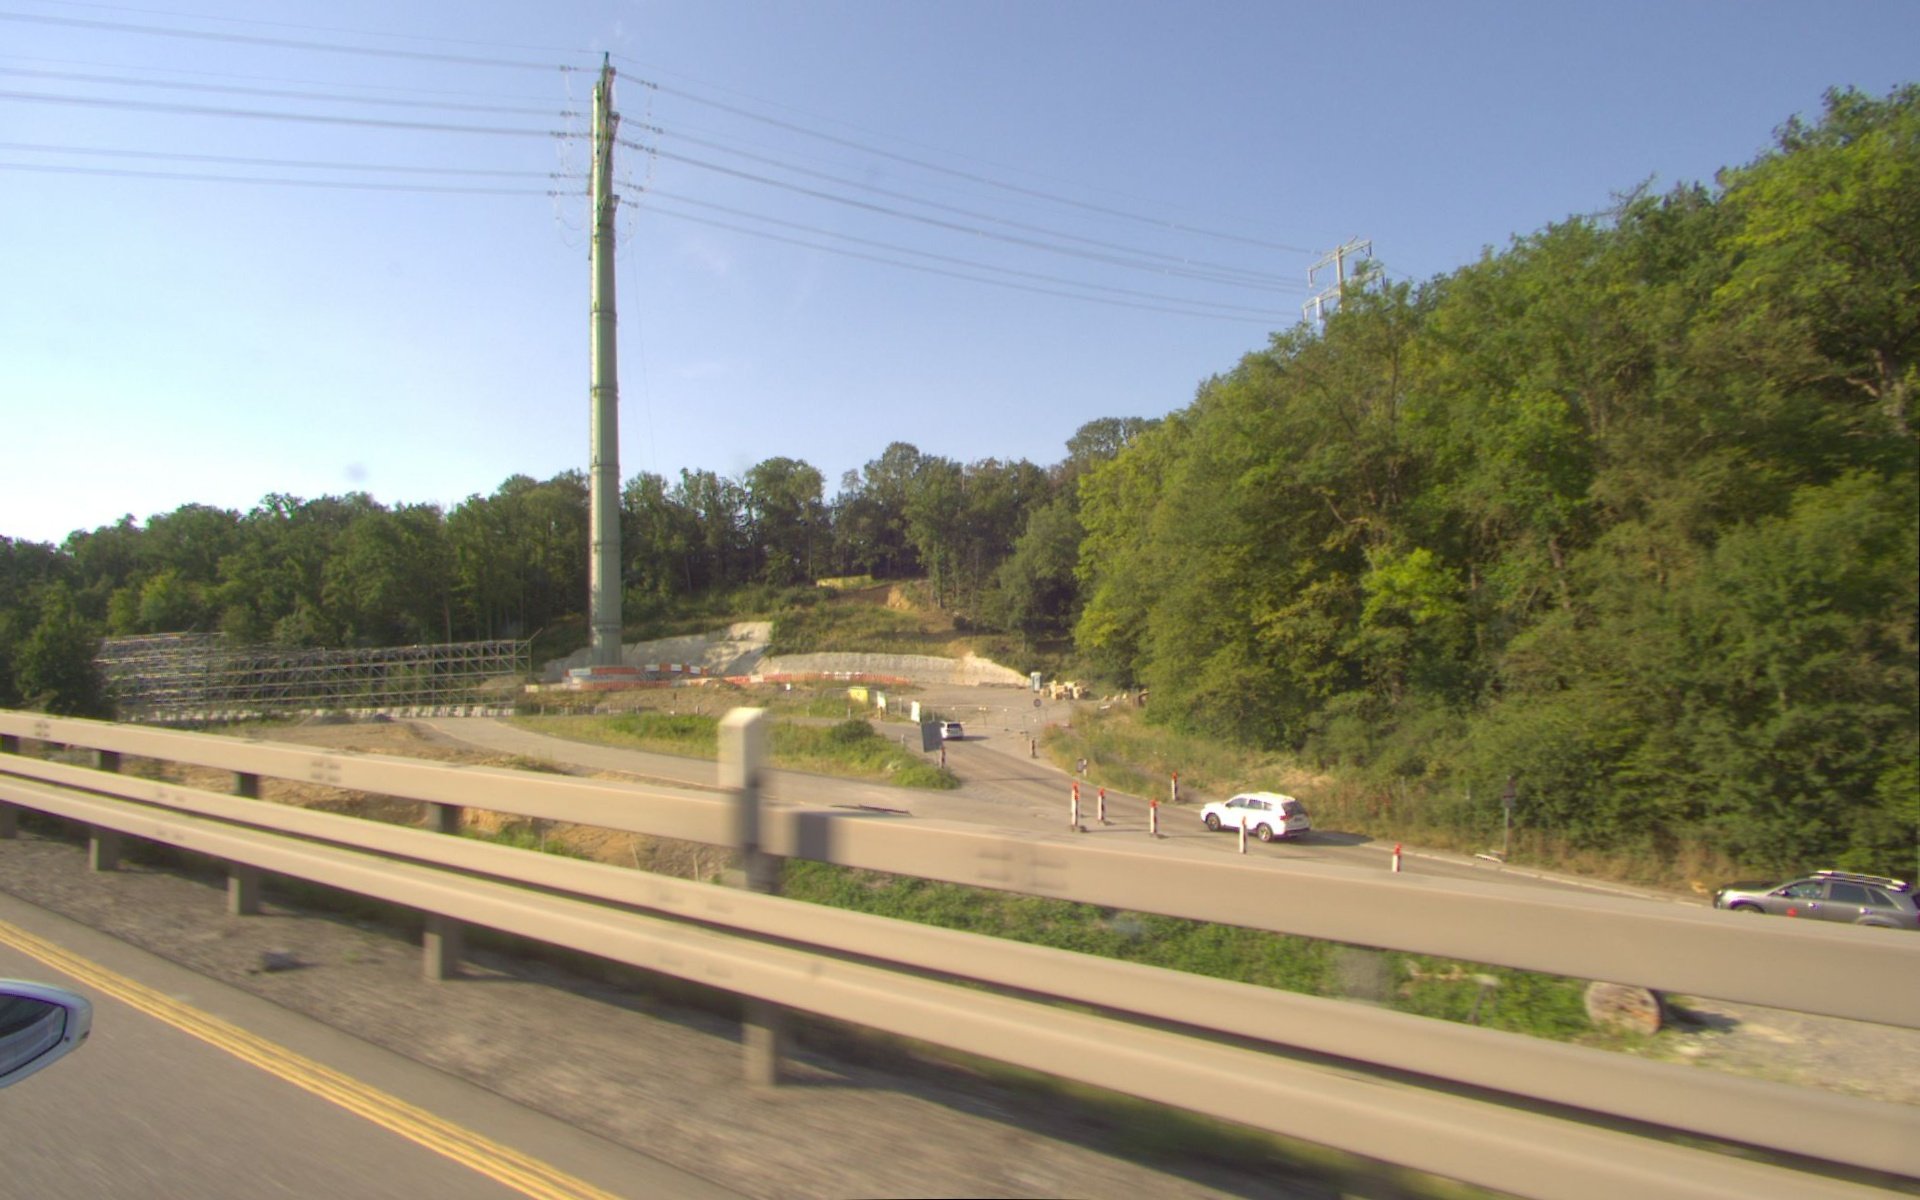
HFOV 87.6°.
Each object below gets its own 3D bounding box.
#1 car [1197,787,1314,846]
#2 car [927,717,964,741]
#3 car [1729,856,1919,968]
[{"bbox_3d":[11.753,8.604,40.134,1.653,1.681,4.443,3,-5,-35],"label":"car"},{"bbox_3d":[-1.185,10.340,80.451,1.505,1.479,4.257,-1,-2,-22],"label":"car"},{"bbox_3d":[23.027,8.095,26.115,1.848,1.807,4.461,1,-2,-40],"label":"car"}]
